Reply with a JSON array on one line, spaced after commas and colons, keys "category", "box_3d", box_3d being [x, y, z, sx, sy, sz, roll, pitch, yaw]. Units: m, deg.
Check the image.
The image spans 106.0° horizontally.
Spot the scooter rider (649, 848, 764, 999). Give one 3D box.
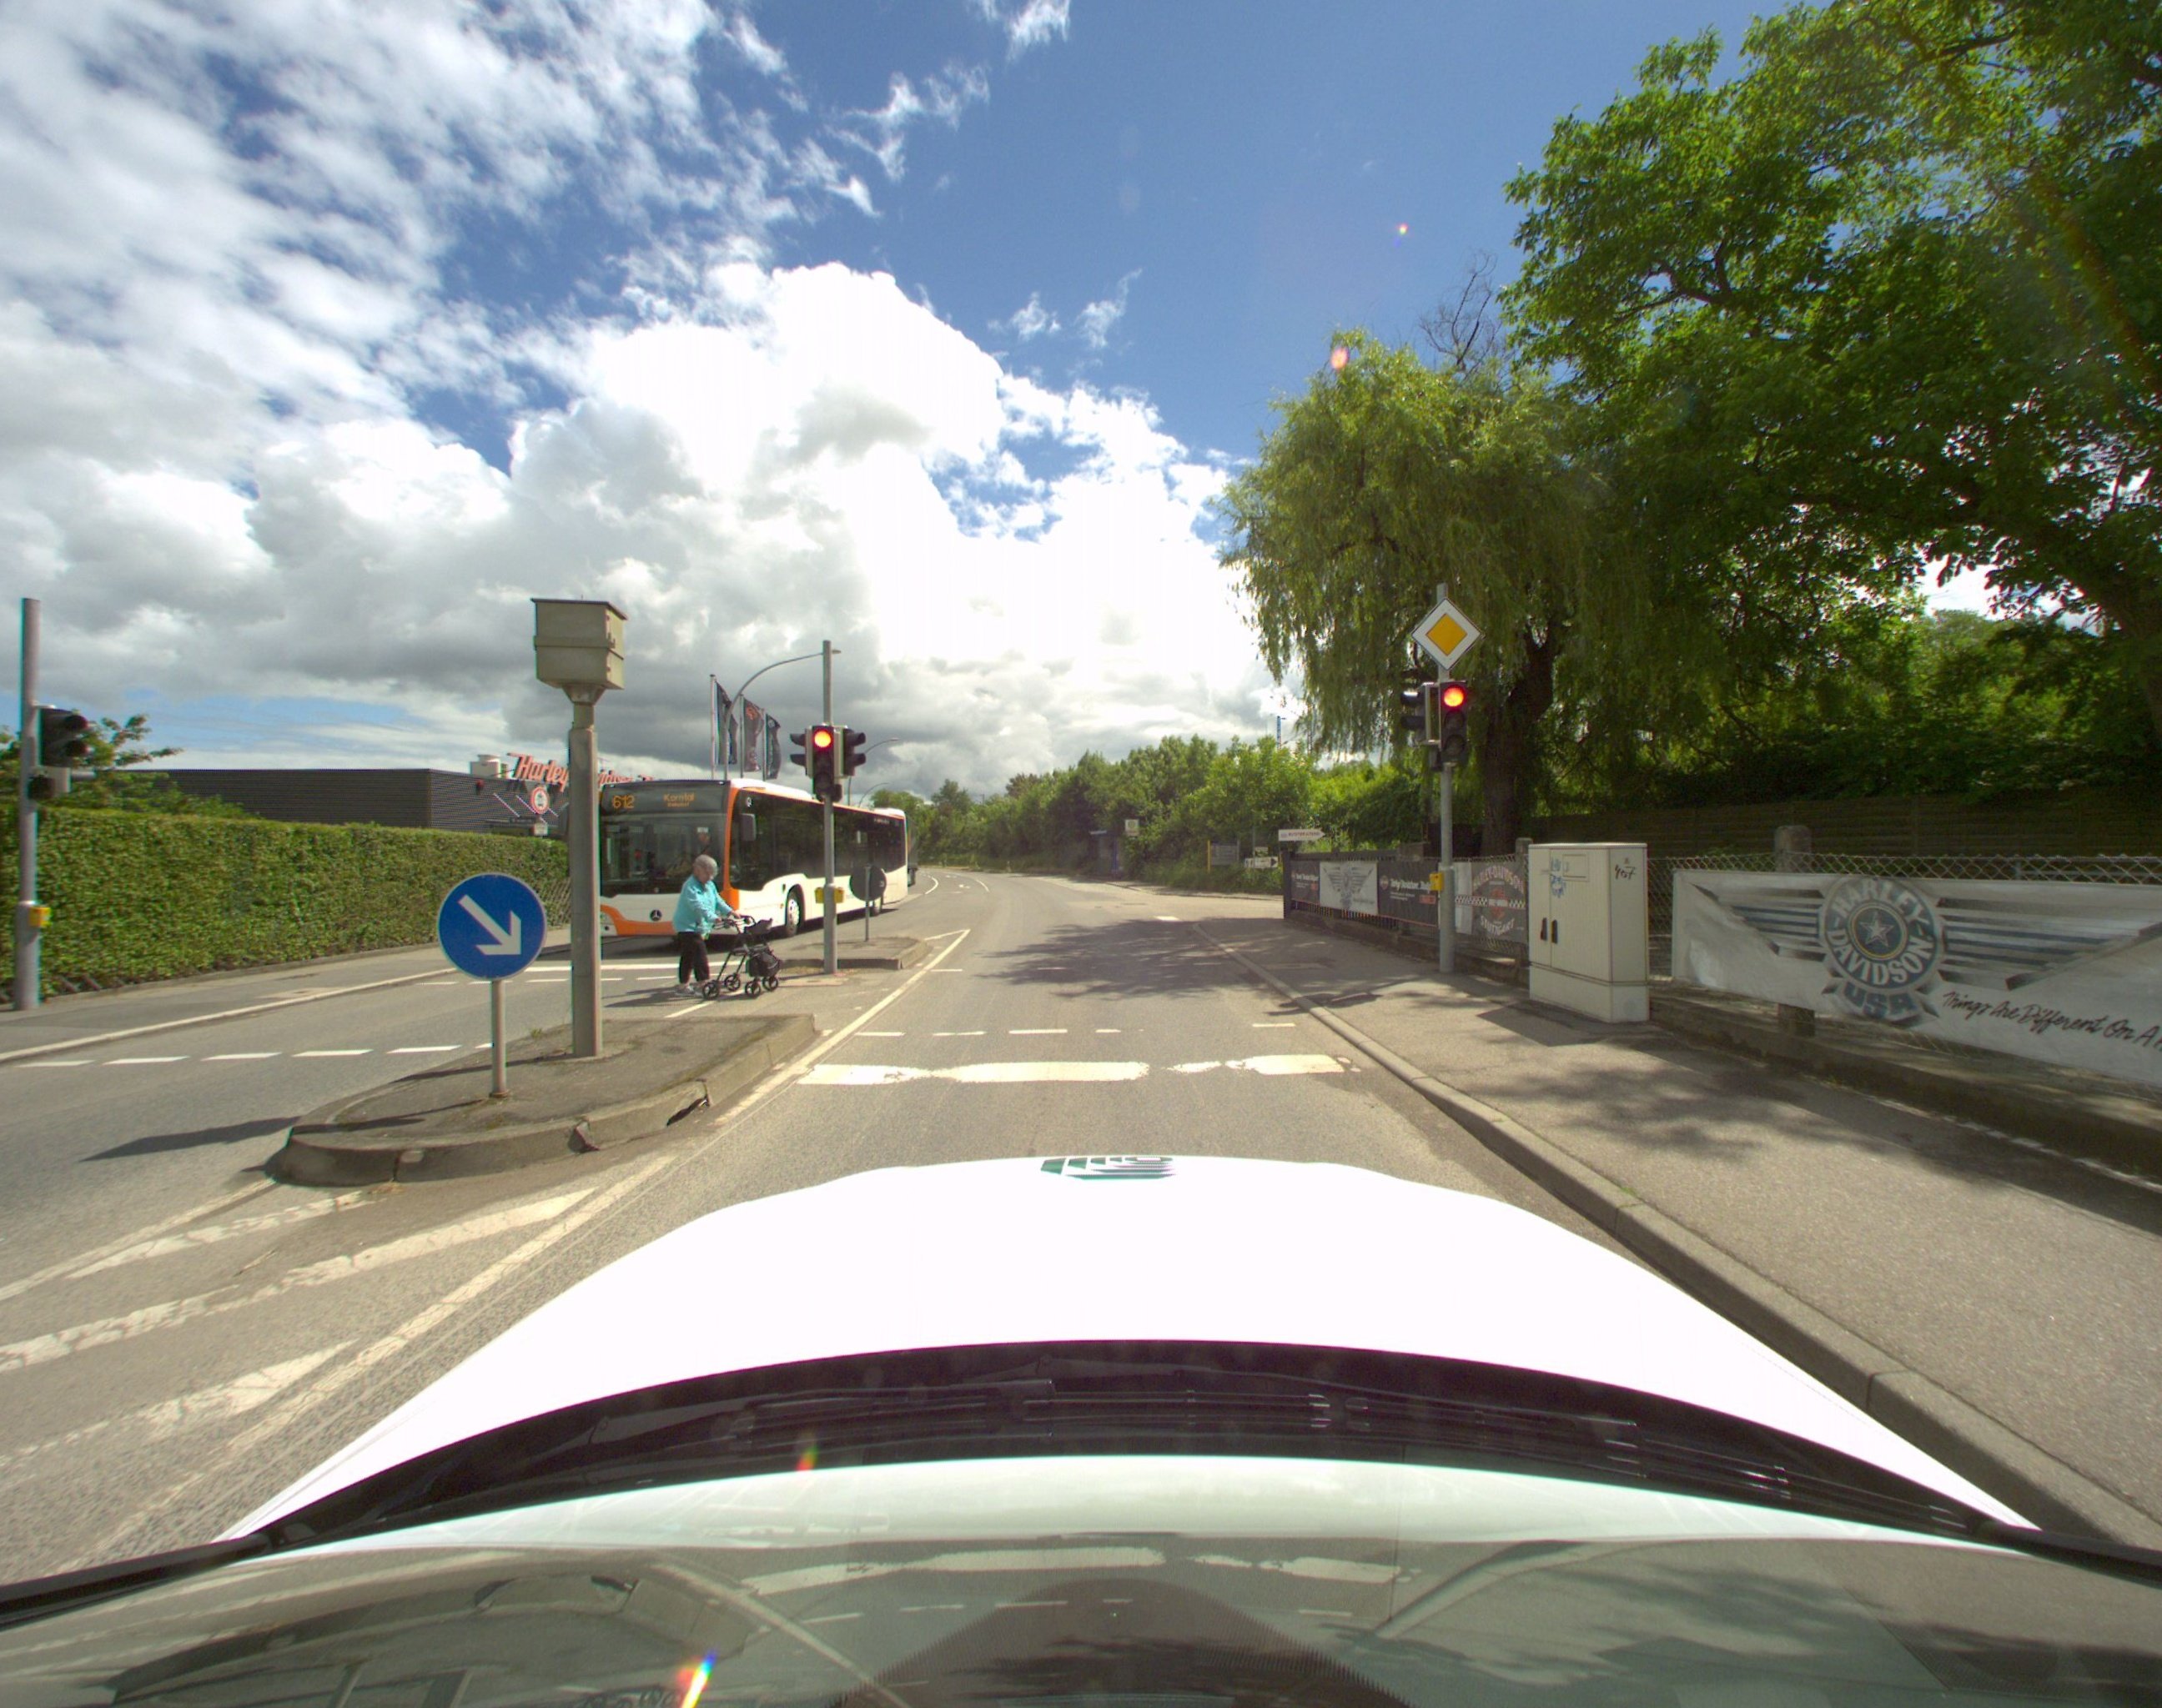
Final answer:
[{"category": "scooter rider", "box_3d": [-4.115, 0.732, 8.999, 0.875, 1.589, 0.796, -1, 0, 0]}]

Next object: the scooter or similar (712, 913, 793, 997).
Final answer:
[{"category": "scooter or similar", "box_3d": [-3.603, 1.096, 8.978, 0.609, 0.831, 0.659, -1, 0, 0]}]

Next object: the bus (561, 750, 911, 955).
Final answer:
[{"category": "bus", "box_3d": [-6.924, 0.006, 19.385, 2.767, 3.266, 12.127, -2, 0, 2]}]

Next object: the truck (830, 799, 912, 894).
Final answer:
[{"category": "truck", "box_3d": [-10.221, -0.294, 40.596, 2.425, 4.131, 9.132, 1, -1, -6]}]
